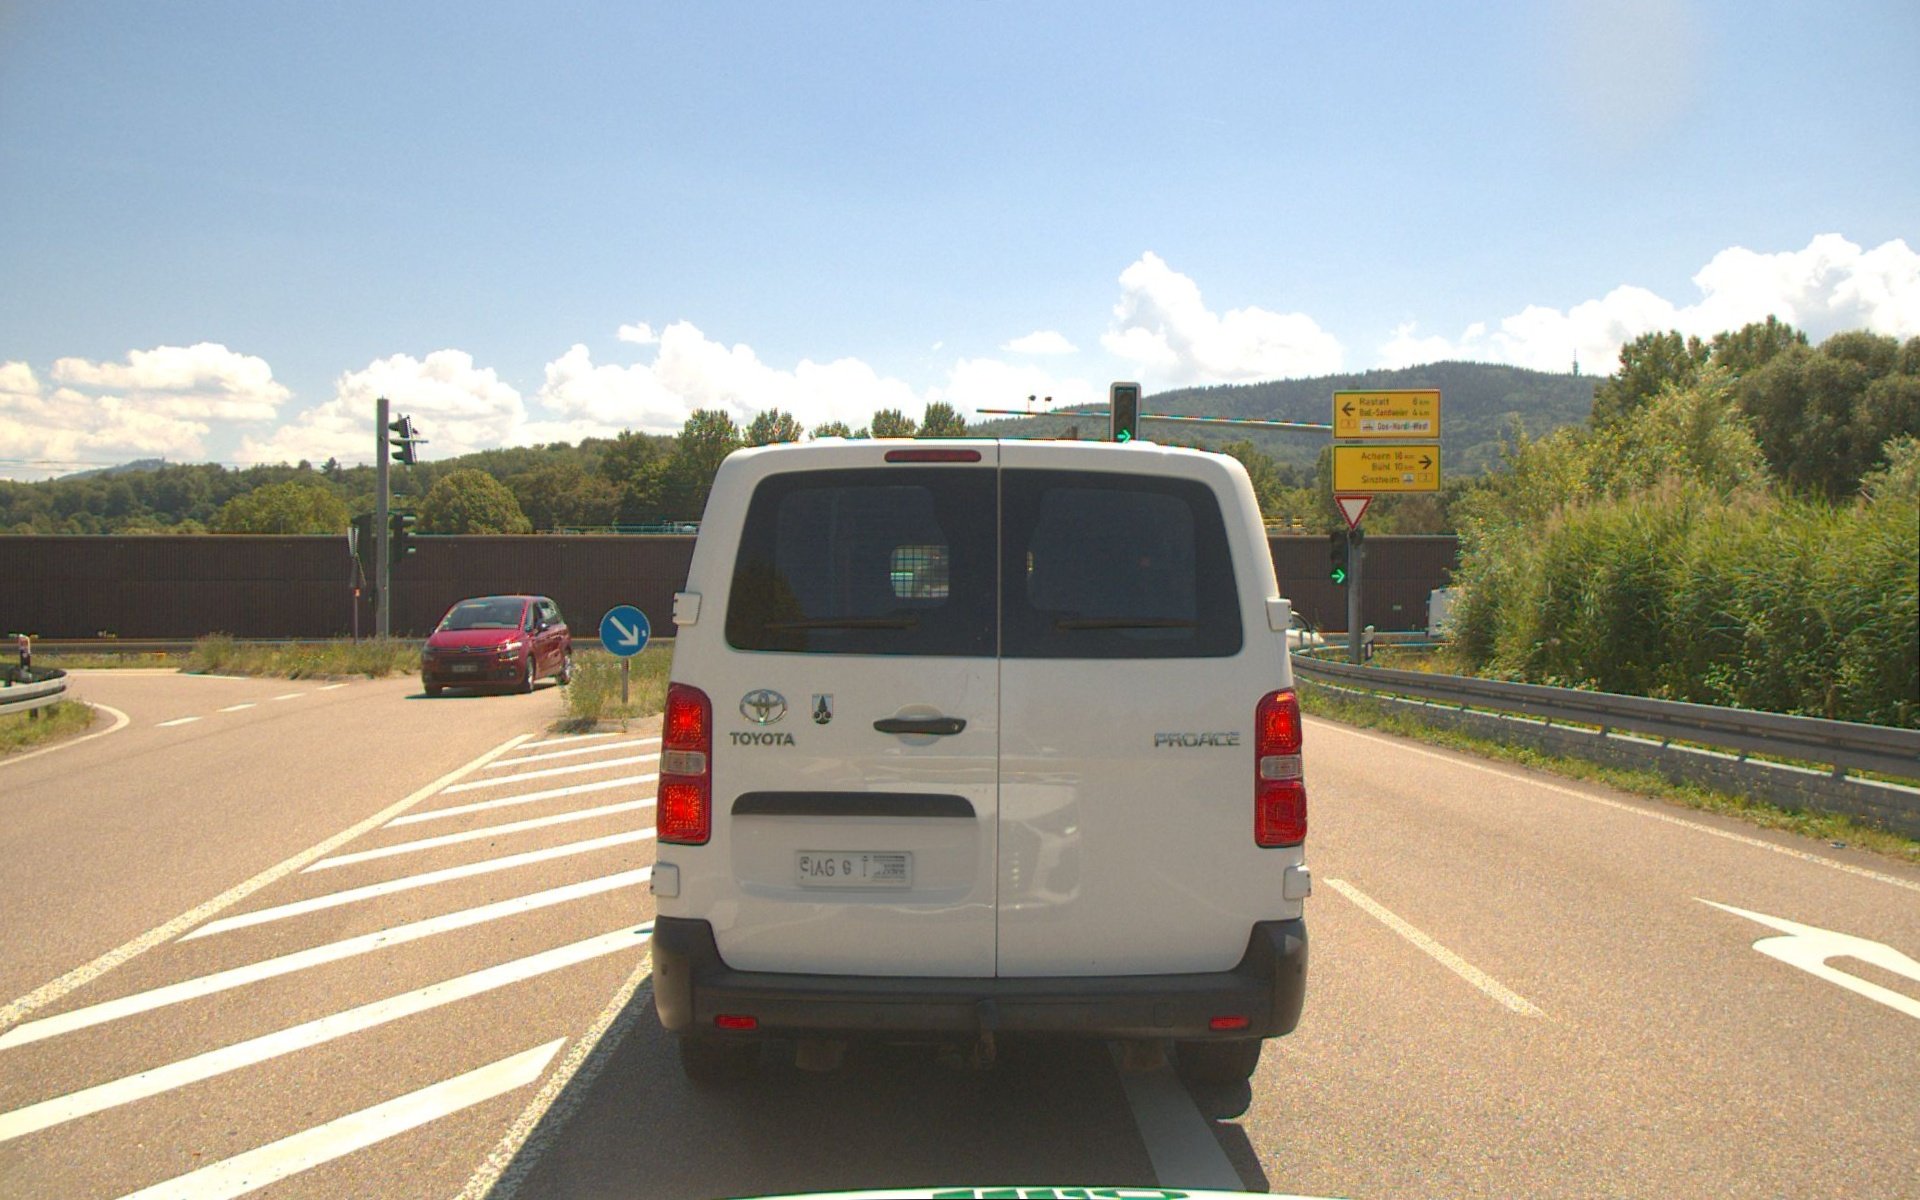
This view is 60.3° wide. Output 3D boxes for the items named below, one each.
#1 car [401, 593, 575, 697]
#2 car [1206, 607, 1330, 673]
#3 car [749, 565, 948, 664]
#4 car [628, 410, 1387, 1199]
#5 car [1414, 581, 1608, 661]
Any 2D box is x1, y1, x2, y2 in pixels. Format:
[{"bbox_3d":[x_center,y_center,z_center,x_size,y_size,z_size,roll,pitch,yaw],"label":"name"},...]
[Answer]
[{"bbox_3d":[-8.175,0.739,29.066,1.953,1.685,4.322,0,0,-2],"label":"car"},{"bbox_3d":[7.165,0.899,38.264,1.627,1.456,3.355,0,-1,34],"label":"car"},{"bbox_3d":[-2.925,0.377,44.412,5.318,2.493,2.007,0,-1,-43],"label":"car"},{"bbox_3d":[0.075,0.521,6.055,1.848,1.919,3.999,1,-1,-2],"label":"car"},{"bbox_3d":[14.622,0.566,43.907,4.751,2.035,1.923,1,-1,-21],"label":"car"}]
